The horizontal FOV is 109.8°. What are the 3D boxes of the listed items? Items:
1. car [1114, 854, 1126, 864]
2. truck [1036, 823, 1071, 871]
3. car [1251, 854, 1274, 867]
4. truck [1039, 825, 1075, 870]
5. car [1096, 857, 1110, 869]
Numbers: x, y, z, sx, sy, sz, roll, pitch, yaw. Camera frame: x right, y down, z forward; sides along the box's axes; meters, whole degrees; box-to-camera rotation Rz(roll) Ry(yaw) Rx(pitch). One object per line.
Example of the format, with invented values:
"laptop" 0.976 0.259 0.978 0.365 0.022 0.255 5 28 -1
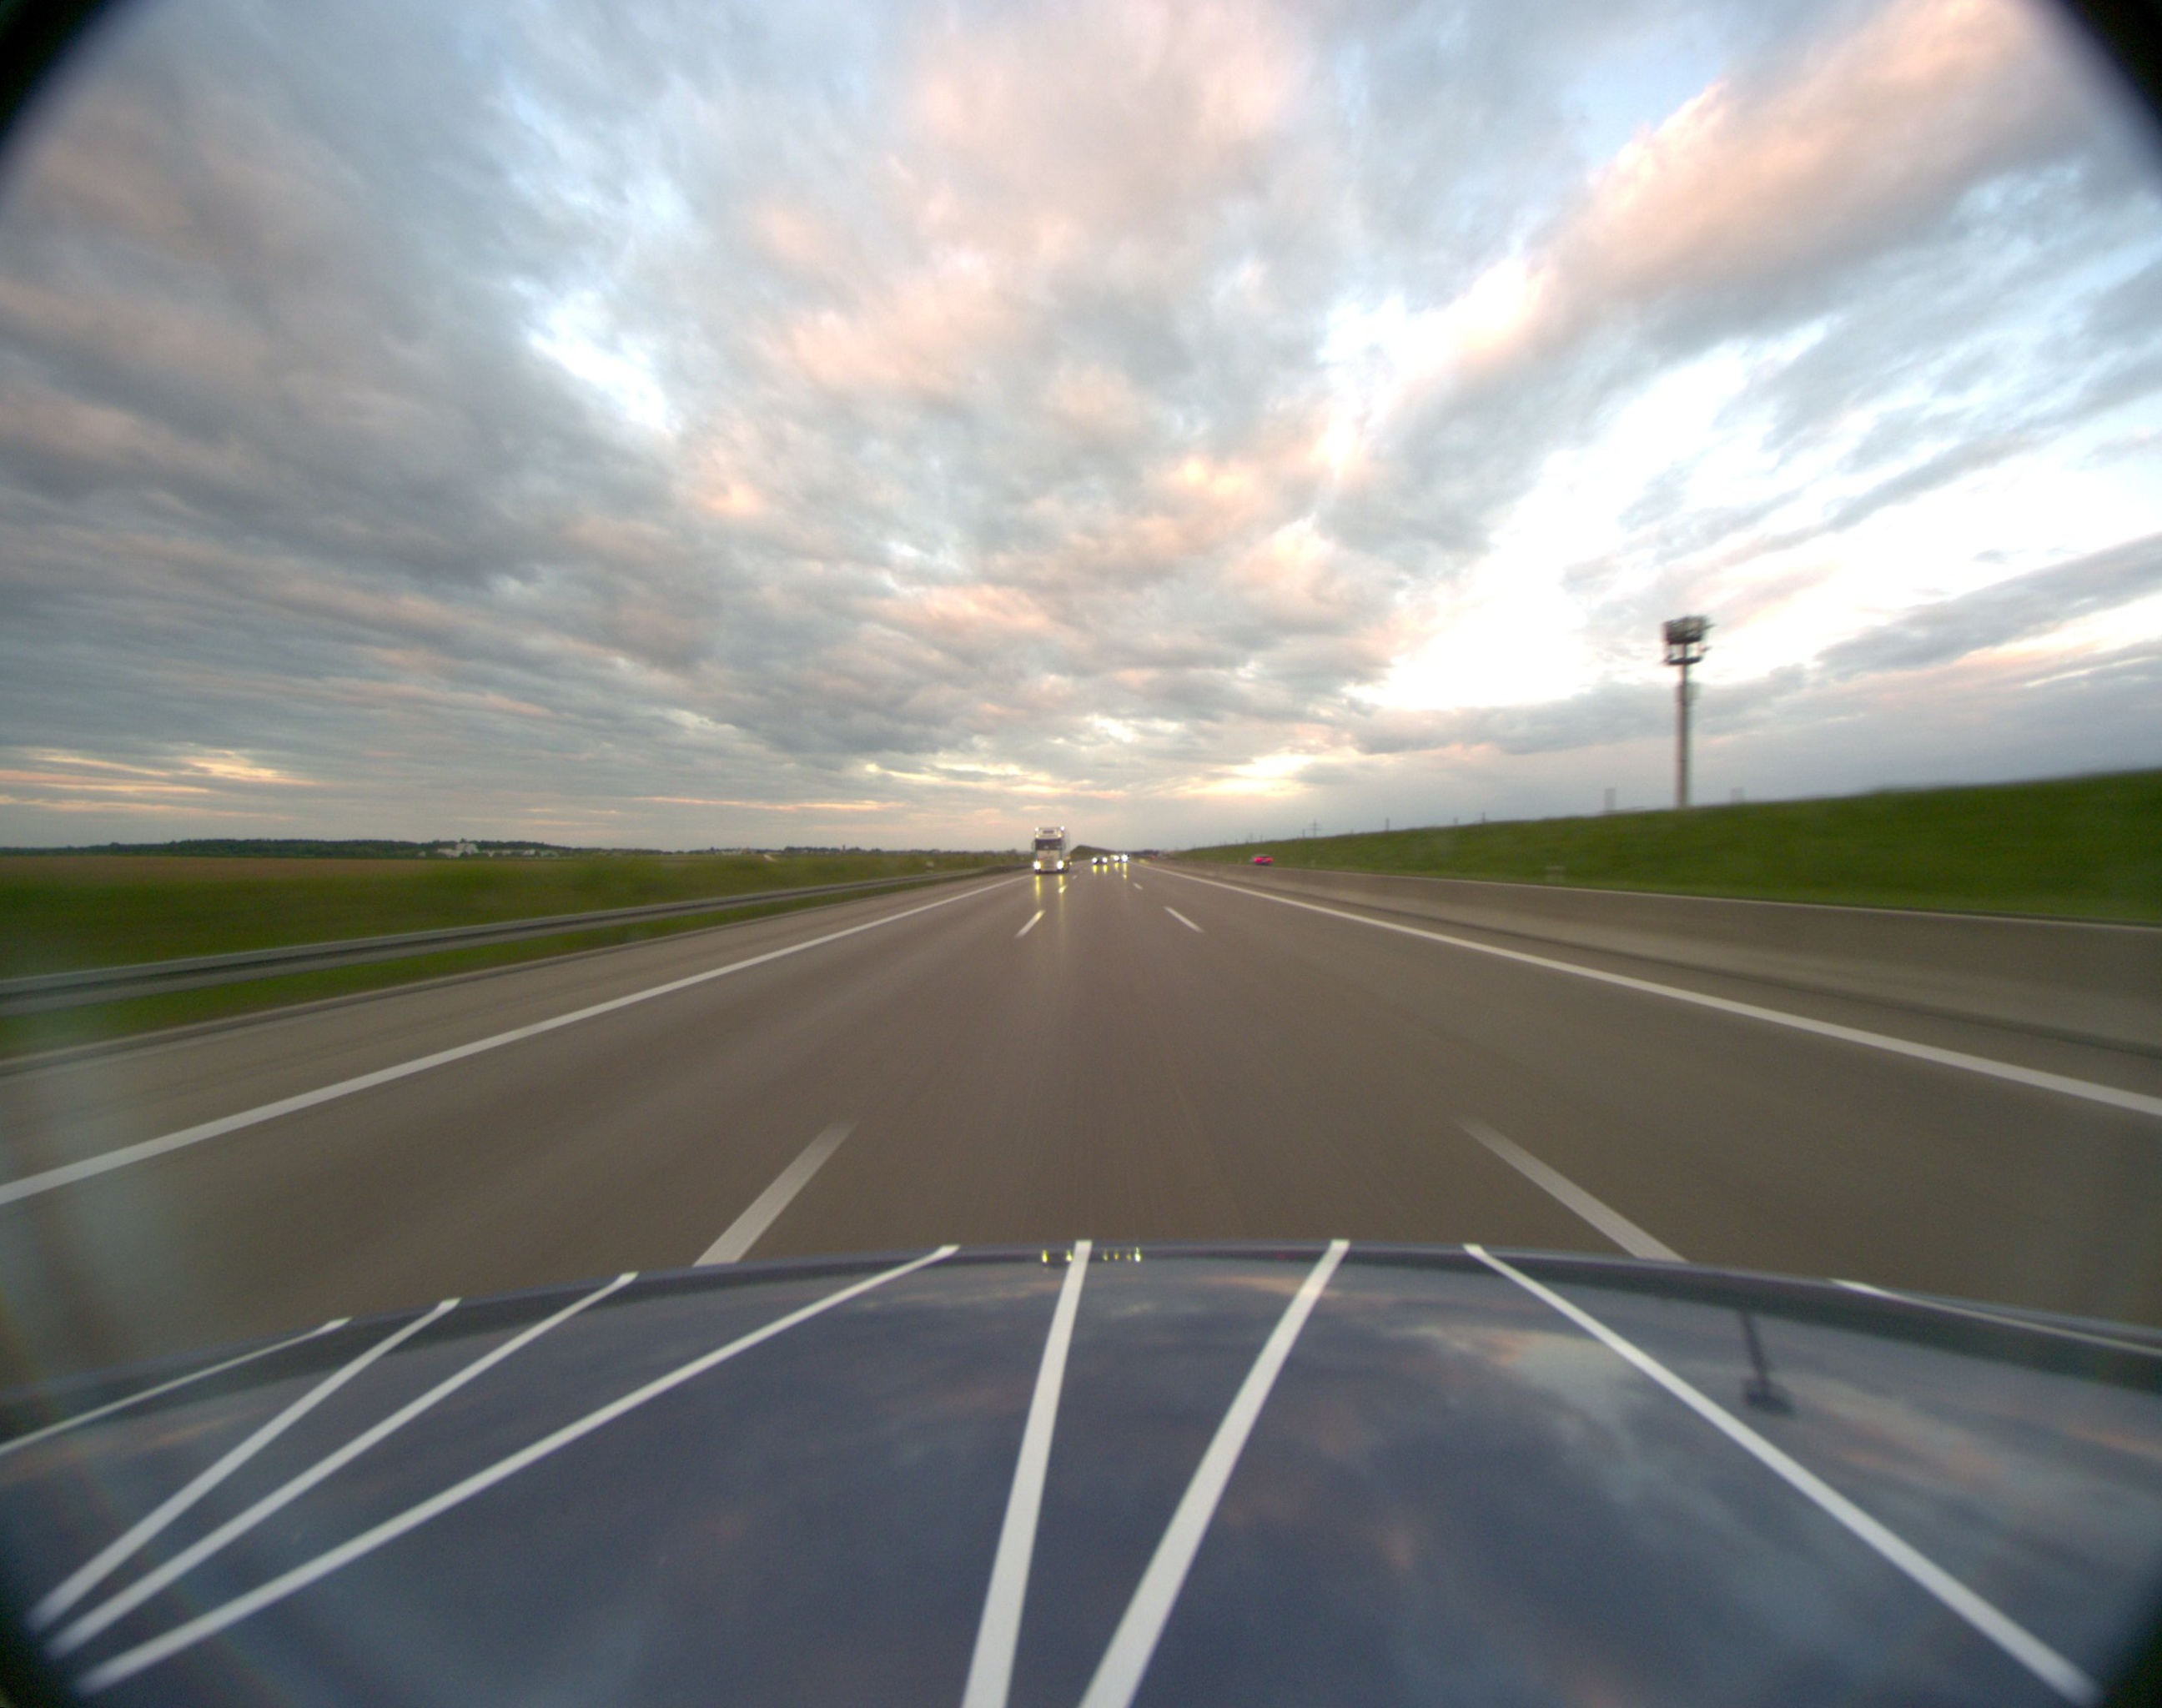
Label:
"car" 7.376 0.929 143.508 1.998 1.652 4.000 -2 1 2
"truck" -2.391 -0.568 67.465 2.596 3.999 5.860 -1 0 2
"car" 21.620 0.731 90.579 1.866 1.544 4.582 0 0 2
"truck" -2.164 -0.584 73.630 2.596 3.999 12.986 -1 0 2
"car" 3.389 1.357 114.497 1.998 1.652 4.851 -2 1 2
